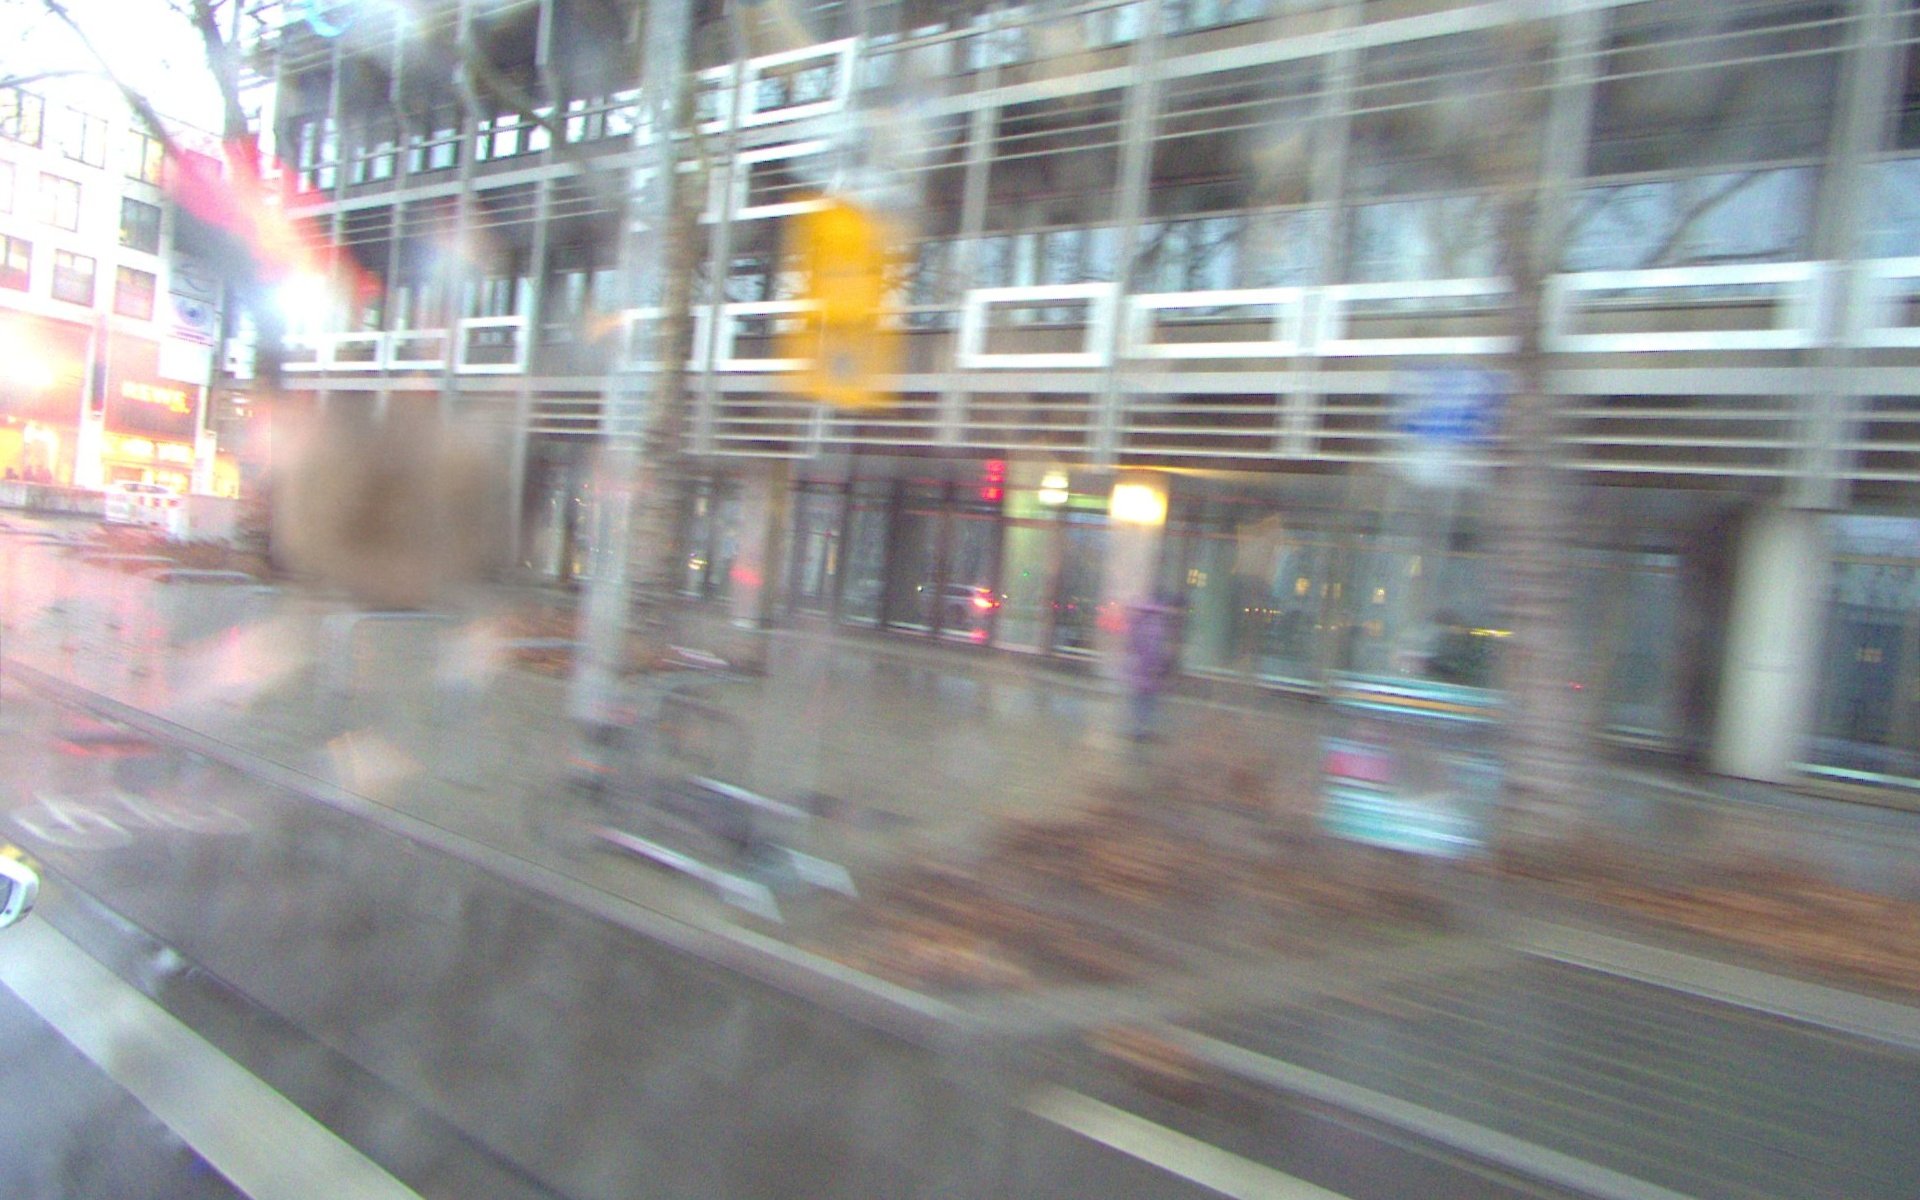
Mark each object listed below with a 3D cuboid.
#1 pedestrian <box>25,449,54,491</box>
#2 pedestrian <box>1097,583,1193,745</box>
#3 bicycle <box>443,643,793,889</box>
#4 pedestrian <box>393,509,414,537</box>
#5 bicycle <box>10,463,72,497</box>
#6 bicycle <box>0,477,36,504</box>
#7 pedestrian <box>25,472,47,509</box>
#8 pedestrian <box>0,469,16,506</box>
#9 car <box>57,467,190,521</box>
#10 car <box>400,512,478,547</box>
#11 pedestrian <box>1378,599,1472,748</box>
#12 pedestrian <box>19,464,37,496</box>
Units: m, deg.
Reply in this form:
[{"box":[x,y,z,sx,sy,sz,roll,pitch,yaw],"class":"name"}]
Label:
[{"box":[-37.811,-5.342,41.341,0.777,1.617,0.606,4,3,-42],"class":"pedestrian"},{"box":[1.918,0.651,10.434,0.605,1.565,0.648,8,3,34],"class":"pedestrian"},{"box":[-1.738,0.786,5.423,0.607,0.987,1.788,7,3,28],"class":"bicycle"},{"box":[-35.304,-4.892,63.861,0.698,1.652,0.794,7,1,33],"class":"pedestrian"},{"box":[-37.822,-4.919,41.418,1.837,1.108,0.610,5,3,-42],"class":"bicycle"},{"box":[-42.970,-4.999,45.098,0.533,1.003,2.130,7,0,33],"class":"bicycle"},{"box":[-44.974,-5.323,48.986,0.529,1.708,0.546,5,3,-19],"class":"pedestrian"},{"box":[-43.015,-5.063,45.103,0.528,1.591,0.814,8,3,33],"class":"pedestrian"},{"box":[-38.036,-4.798,45.844,1.680,1.784,4.300,8,2,36],"class":"car"},{"box":[-30.023,-4.054,58.041,1.648,1.603,3.571,7,2,31],"class":"car"},{"box":[5.659,0.879,12.244,0.767,1.678,0.616,8,3,33],"class":"pedestrian"},{"box":[-52.565,-6.753,56.748,0.529,1.740,0.500,5,3,-19],"class":"pedestrian"}]
